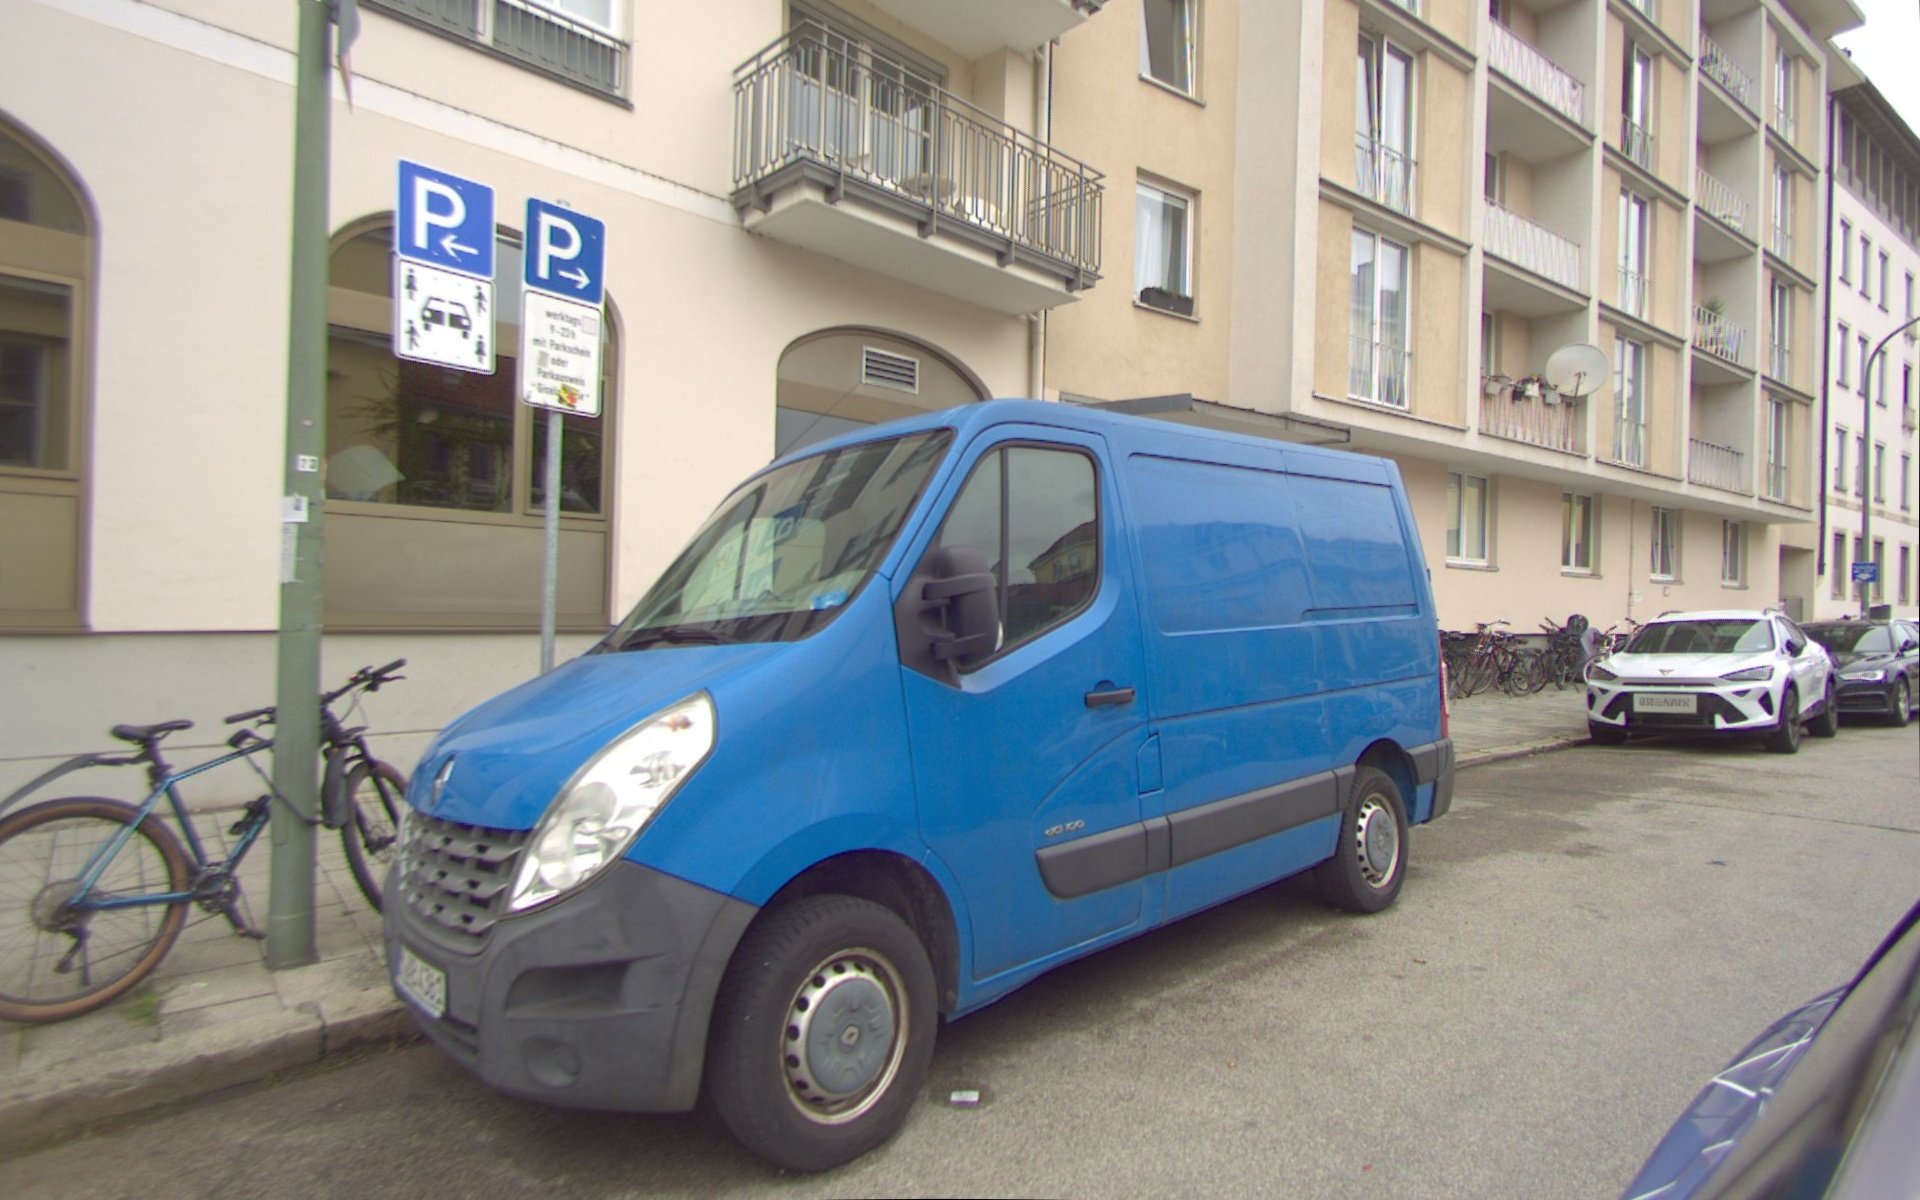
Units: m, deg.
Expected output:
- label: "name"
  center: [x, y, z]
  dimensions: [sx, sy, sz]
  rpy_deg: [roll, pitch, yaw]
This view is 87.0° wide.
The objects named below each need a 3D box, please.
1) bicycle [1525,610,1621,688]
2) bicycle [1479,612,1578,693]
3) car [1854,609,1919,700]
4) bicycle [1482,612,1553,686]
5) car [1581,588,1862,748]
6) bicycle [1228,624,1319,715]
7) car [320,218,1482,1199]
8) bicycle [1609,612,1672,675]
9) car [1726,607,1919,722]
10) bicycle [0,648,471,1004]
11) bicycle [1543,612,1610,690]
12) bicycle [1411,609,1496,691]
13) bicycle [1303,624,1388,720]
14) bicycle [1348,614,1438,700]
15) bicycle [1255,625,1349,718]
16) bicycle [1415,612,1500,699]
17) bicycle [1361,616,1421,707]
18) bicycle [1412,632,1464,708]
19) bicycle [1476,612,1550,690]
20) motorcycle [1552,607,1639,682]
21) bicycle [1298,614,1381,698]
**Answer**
- label: "bicycle"
  center: [10.772, 0.840, 17.811]
  dimensions: [1.337, 1.216, 0.388]
  rpy_deg: [6, 4, 41]
- label: "bicycle"
  center: [9.008, 0.827, 16.030]
  dimensions: [1.534, 1.216, 0.399]
  rpy_deg: [1, 3, -20]
- label: "car"
  center: [17.313, 0.912, 17.709]
  dimensions: [4.044, 1.488, 1.705]
  rpy_deg: [1, -4, -38]
- label: "bicycle"
  center: [9.629, 0.828, 17.469]
  dimensions: [1.315, 1.216, 0.394]
  rpy_deg: [1, 4, -31]
- label: "car"
  center: [9.009, 0.746, 11.842]
  dimensions: [4.229, 1.543, 1.777]
  rpy_deg: [2, -4, -42]
- label: "bicycle"
  center: [4.199, 0.909, 13.512]
  dimensions: [1.321, 1.114, 0.370]
  rpy_deg: [0, 4, -35]
- label: "car"
  center: [0.208, 0.307, 4.581]
  dimensions: [4.943, 2.242, 2.111]
  rpy_deg: [-2, -3, -42]
- label: "bicycle"
  center: [13.499, 0.846, 20.061]
  dimensions: [1.571, 1.171, 0.515]
  rpy_deg: [1, 2, -37]
- label: "car"
  center: [13.184, 0.888, 14.826]
  dimensions: [4.604, 1.448, 1.777]
  rpy_deg: [1, -4, -36]
- label: "bicycle"
  center: [-2.947, 0.772, 3.981]
  dimensions: [0.563, 1.083, 1.763]
  rpy_deg: [2, 0, 37]
- label: "bicycle"
  center: [10.355, 0.828, 16.981]
  dimensions: [1.345, 1.216, 0.448]
  rpy_deg: [0, 4, -39]
- label: "bicycle"
  center: [7.793, 0.766, 15.971]
  dimensions: [1.366, 1.216, 0.449]
  rpy_deg: [1, 4, -30]
- label: "bicycle"
  center: [4.973, 0.902, 13.032]
  dimensions: [1.323, 1.114, 0.392]
  rpy_deg: [0, 4, -42]
- label: "bicycle"
  center: [6.543, 0.835, 15.275]
  dimensions: [1.366, 1.216, 0.449]
  rpy_deg: [1, 4, -30]
- label: "bicycle"
  center: [4.475, 0.915, 13.225]
  dimensions: [1.361, 1.114, 0.370]
  rpy_deg: [0, 4, -35]
- label: "bicycle"
  center: [7.362, 0.808, 14.968]
  dimensions: [1.257, 1.216, 0.415]
  rpy_deg: [1, 4, -30]
- label: "bicycle"
  center: [5.959, 0.822, 13.961]
  dimensions: [0.394, 1.114, 1.285]
  rpy_deg: [5, 4, 37]
- label: "bicycle"
  center: [6.692, 0.953, 14.137]
  dimensions: [0.445, 0.904, 1.184]
  rpy_deg: [5, 4, 33]
- label: "bicycle"
  center: [9.113, 0.817, 16.670]
  dimensions: [1.259, 1.216, 0.419]
  rpy_deg: [1, 4, -32]
- label: "motorcycle"
  center: [11.748, 0.798, 18.686]
  dimensions: [2.003, 1.287, 0.637]
  rpy_deg: [1, 2, -37]
- label: "bicycle"
  center: [5.409, 0.775, 14.406]
  dimensions: [1.321, 1.114, 0.370]
  rpy_deg: [0, 4, -35]
